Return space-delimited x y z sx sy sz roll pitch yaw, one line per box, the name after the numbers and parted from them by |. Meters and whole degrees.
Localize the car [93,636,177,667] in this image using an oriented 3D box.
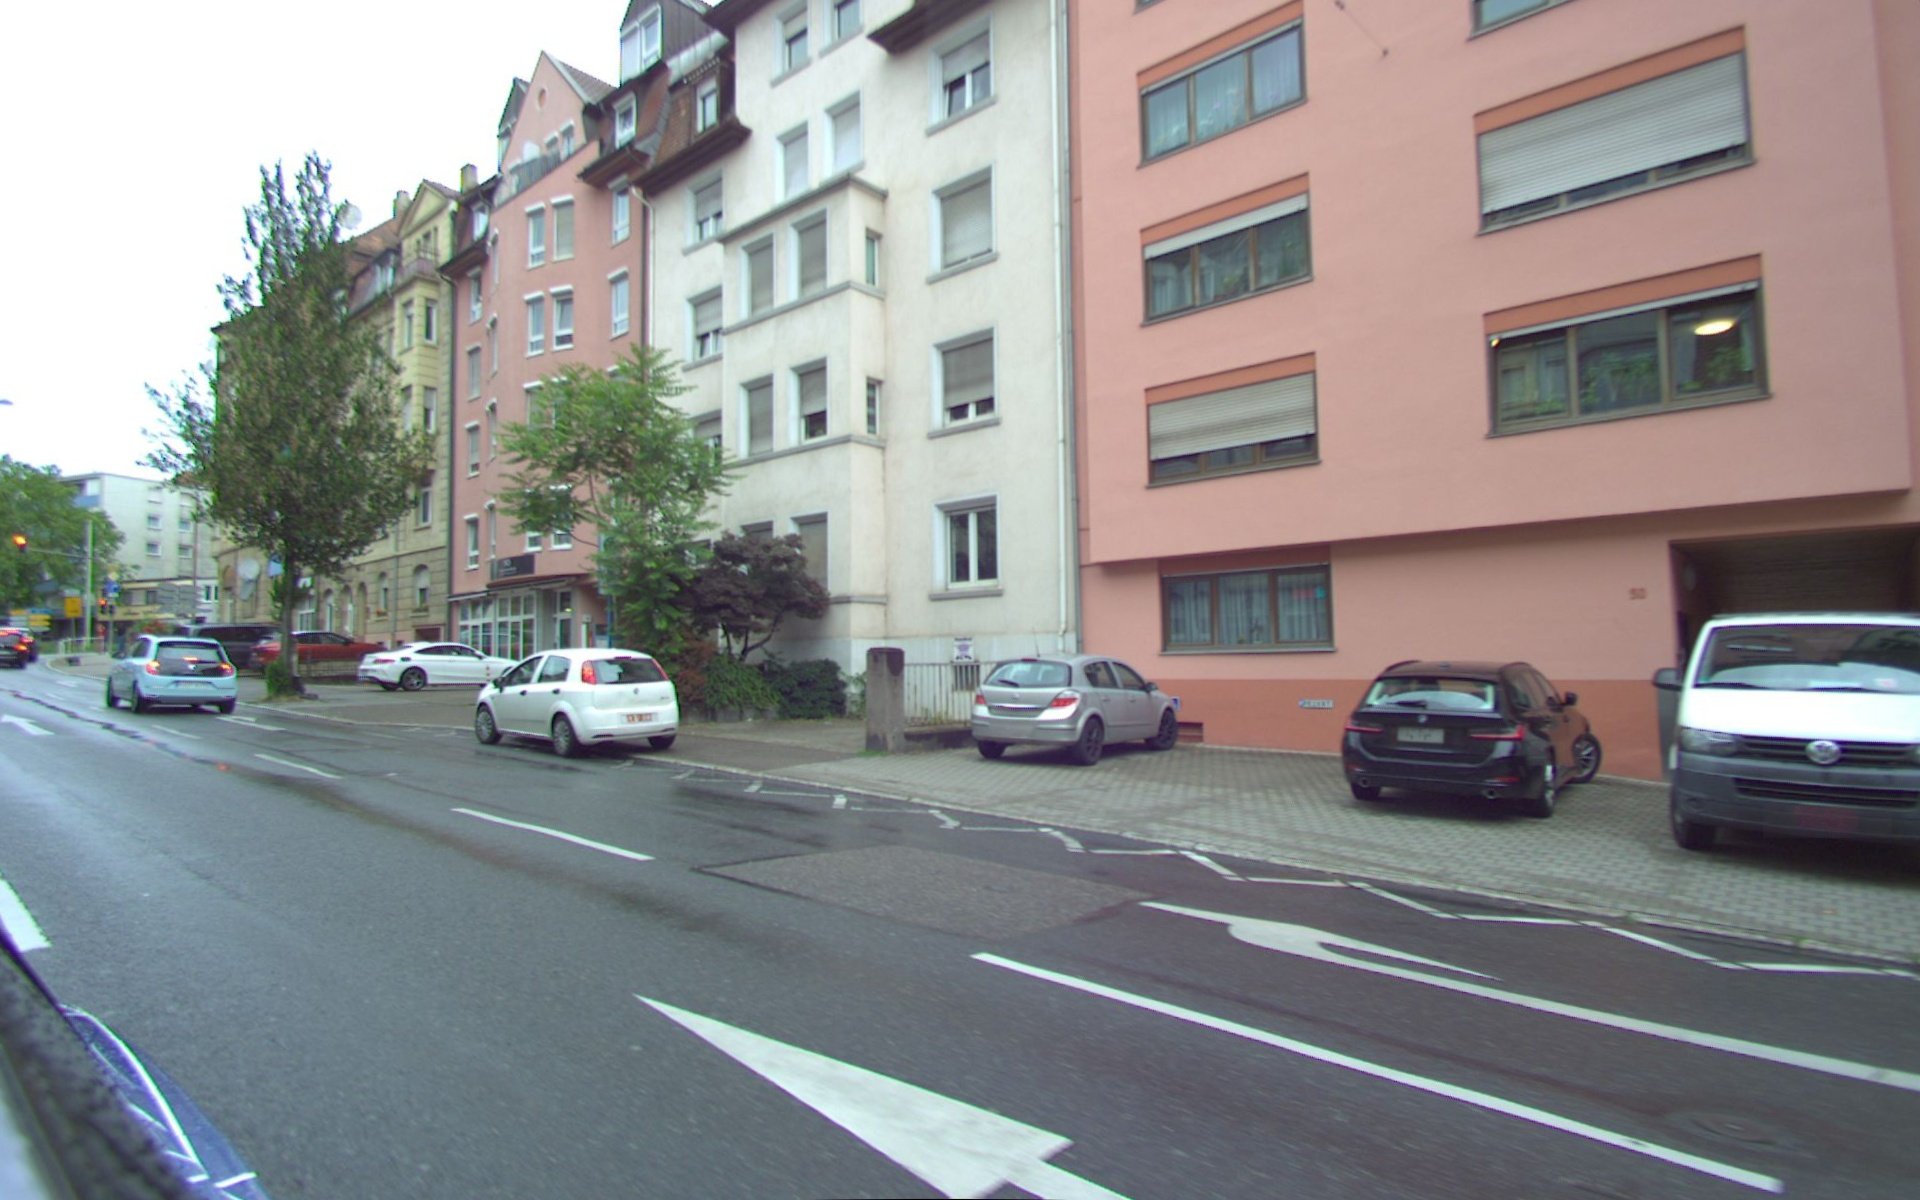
-56.722 3.516 69.673 4.382 2.029 1.921 0 -2 -36 | car

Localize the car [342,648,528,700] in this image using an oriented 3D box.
-15.304 2.160 29.703 1.766 1.412 4.500 -2 -5 40 | car

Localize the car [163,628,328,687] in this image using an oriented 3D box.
-26.200 2.071 37.285 1.857 1.953 4.640 -2 -2 31 | car

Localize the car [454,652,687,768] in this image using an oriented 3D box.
-5.895 1.530 15.109 4.004 1.457 1.603 -2 -4 42 | car

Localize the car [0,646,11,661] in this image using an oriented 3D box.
-90.885 5.017 93.986 1.790 1.426 3.697 0 -1 7 | car

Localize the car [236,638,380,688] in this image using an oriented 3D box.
-23.648 2.239 36.831 1.896 1.603 4.055 -1 -1 40 | car

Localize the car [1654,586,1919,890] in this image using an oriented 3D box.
7.549 1.031 8.723 2.047 1.989 4.778 -2 -4 41 | car

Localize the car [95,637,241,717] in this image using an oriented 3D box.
-16.480 1.572 20.997 3.753 1.520 1.619 -2 -6 41 | car

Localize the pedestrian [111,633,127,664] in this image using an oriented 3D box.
-47.930 2.744 57.673 0.829 1.715 0.629 -3 -2 43 | pedestrian

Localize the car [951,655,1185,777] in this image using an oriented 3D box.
1.686 1.561 14.528 1.787 1.468 3.849 -1 -4 33 | car

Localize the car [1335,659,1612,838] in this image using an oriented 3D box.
5.627 1.393 10.792 1.790 1.463 4.388 -2 -4 38 | car

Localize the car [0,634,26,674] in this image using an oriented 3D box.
-42.364 2.317 44.299 4.417 1.662 1.604 -2 -6 41 | car

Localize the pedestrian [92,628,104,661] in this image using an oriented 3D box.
-47.724 2.455 56.032 0.516 1.787 0.694 0 -2 -43 | pedestrian
